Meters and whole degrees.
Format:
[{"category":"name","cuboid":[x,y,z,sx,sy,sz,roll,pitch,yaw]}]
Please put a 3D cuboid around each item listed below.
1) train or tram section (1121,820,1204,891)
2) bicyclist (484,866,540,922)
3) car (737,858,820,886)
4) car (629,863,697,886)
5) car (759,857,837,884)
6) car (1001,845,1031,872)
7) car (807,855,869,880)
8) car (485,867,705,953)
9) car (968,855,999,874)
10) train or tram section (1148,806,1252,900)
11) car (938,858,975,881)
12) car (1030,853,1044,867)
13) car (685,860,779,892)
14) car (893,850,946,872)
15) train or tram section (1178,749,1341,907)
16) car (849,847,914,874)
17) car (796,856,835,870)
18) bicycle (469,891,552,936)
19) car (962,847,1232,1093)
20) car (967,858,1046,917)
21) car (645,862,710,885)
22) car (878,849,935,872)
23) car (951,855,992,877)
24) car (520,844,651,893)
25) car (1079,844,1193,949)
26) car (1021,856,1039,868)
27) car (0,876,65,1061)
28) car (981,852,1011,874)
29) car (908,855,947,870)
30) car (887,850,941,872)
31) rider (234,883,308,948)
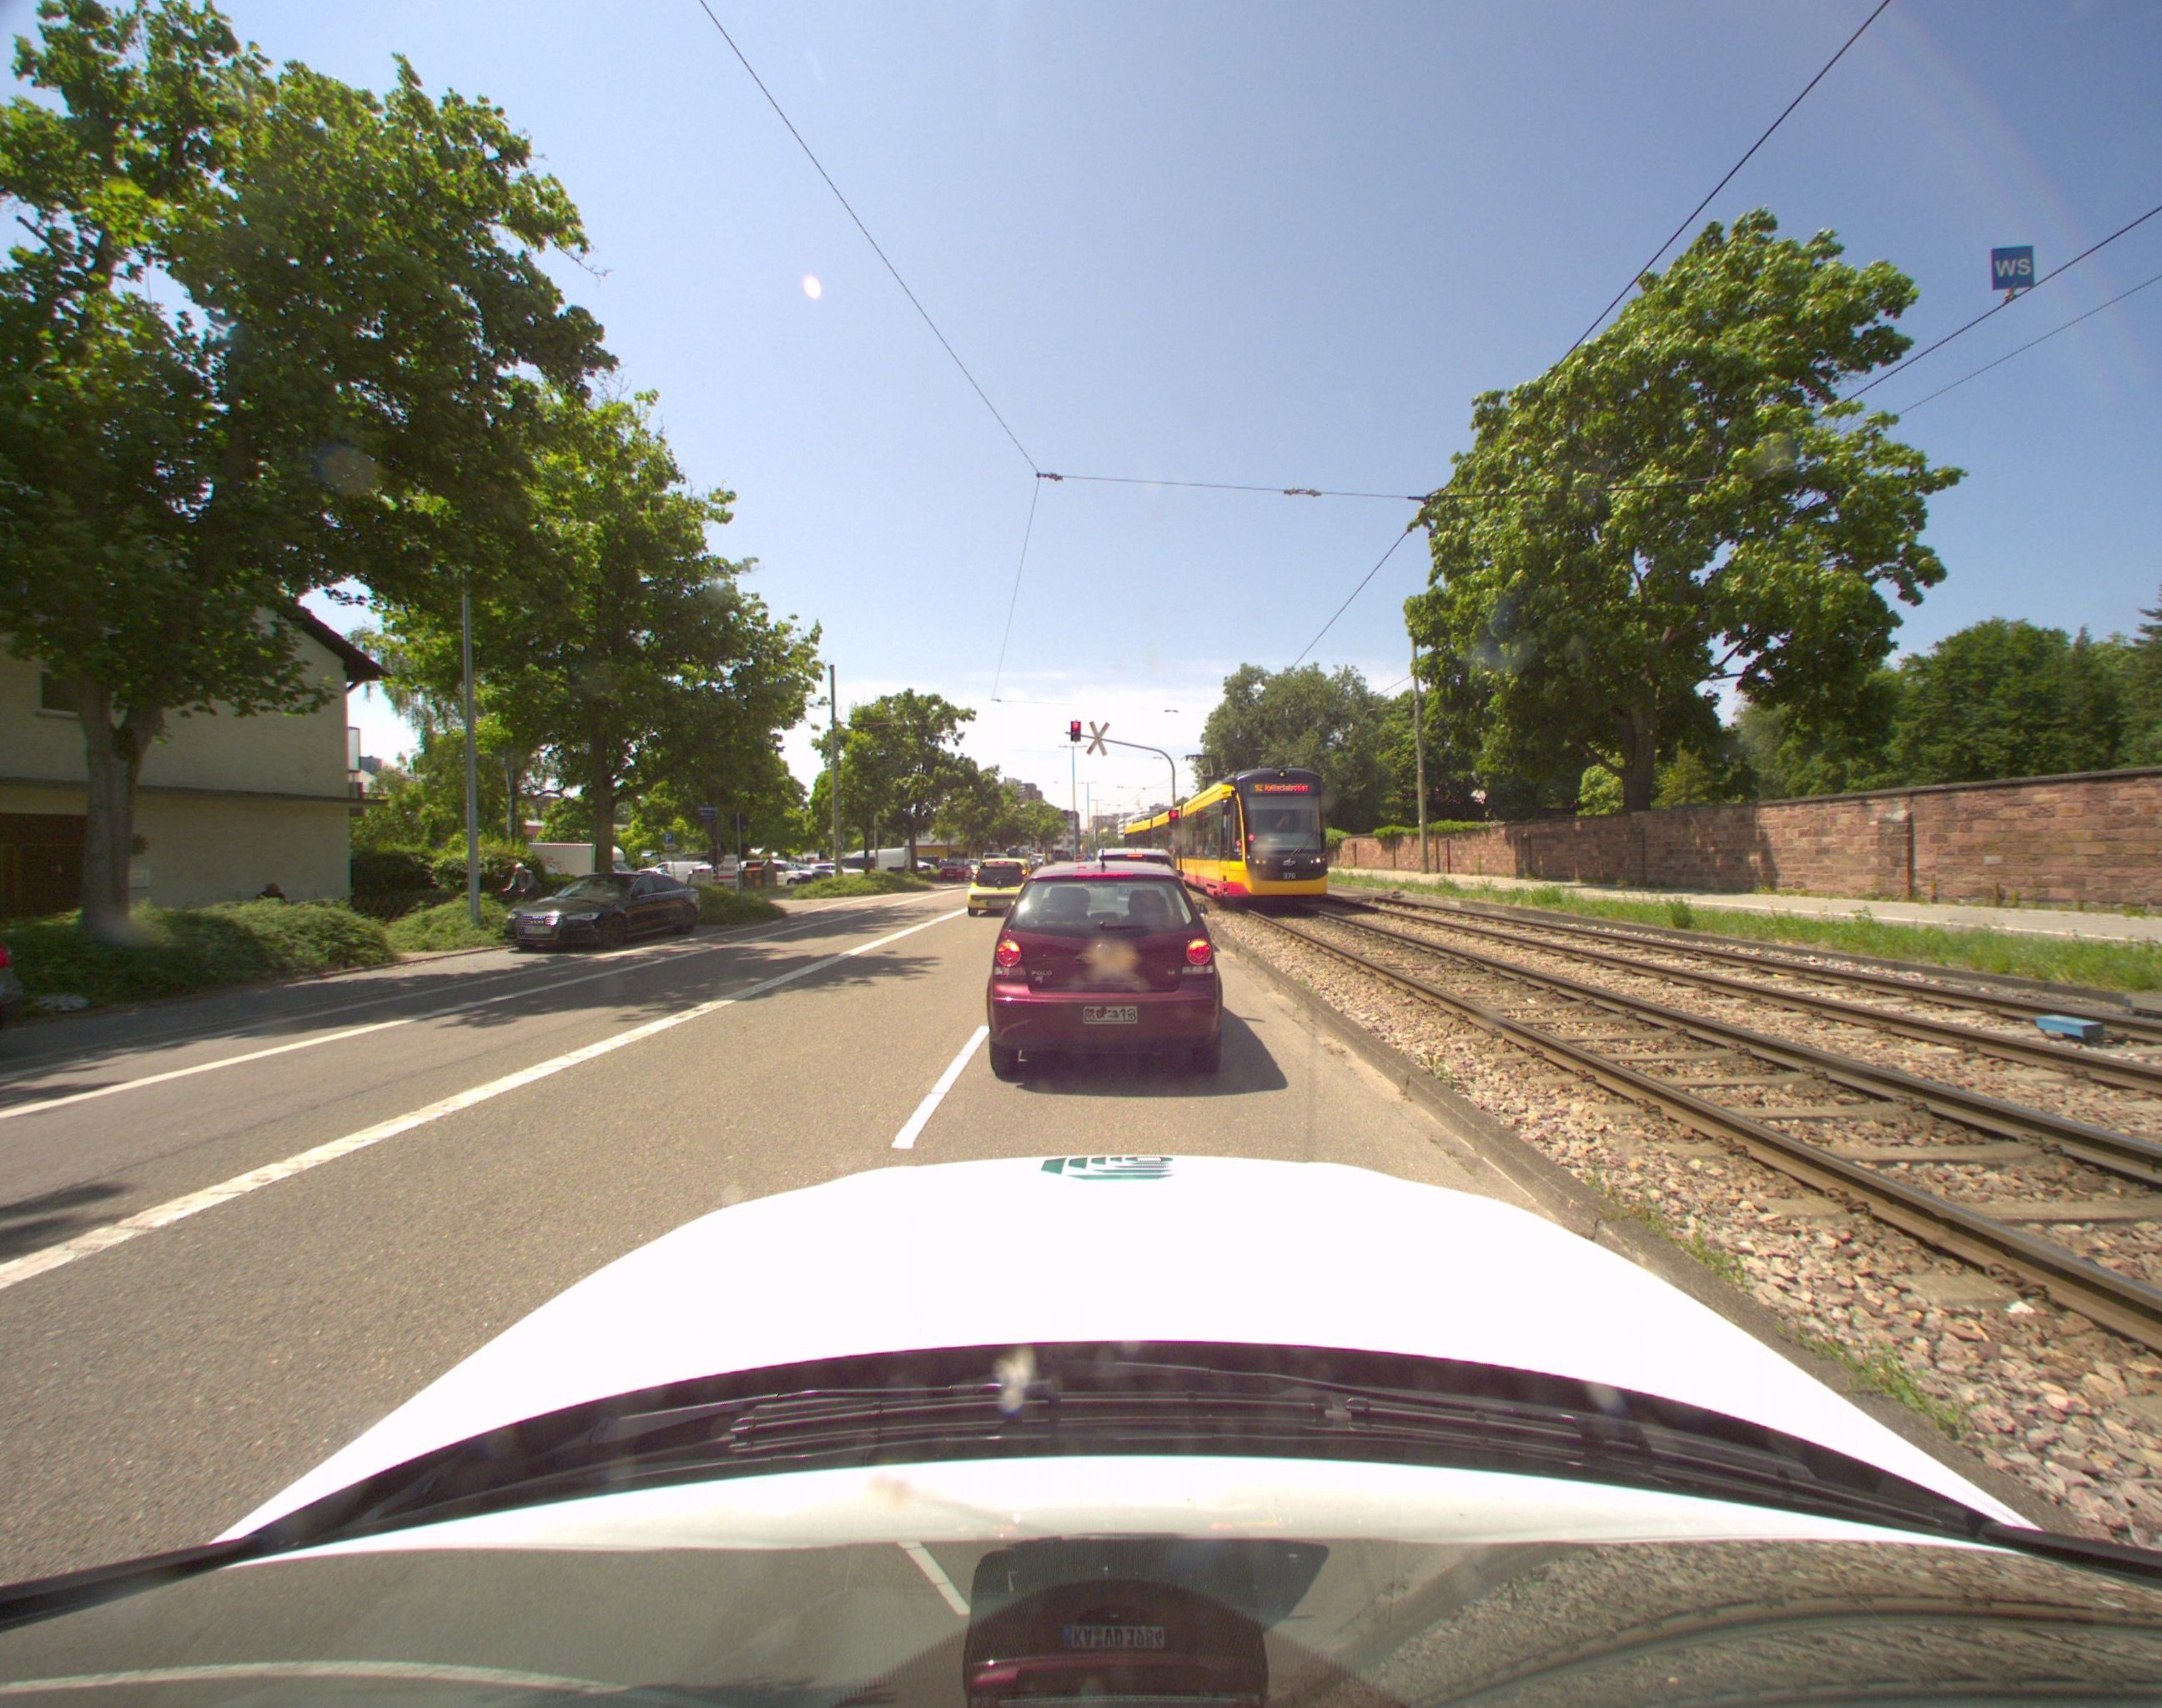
[{"category":"train or tram section","cuboid":[4.452,0.058,47.159,2.737,3.609,10.930,1,0,-5]},{"category":"bicyclist","cuboid":[-14.528,1.011,20.809,0.805,1.374,0.829,0,-1,5]},{"category":"car","cuboid":[-18.634,1.096,50.202,4.319,1.585,1.917,-2,0,7]},{"category":"car","cuboid":[-30.412,1.495,59.358,3.982,1.653,1.812,1,-1,-7]},{"category":"car","cuboid":[-18.410,1.085,53.078,4.319,1.585,1.917,-2,0,8]},{"category":"car","cuboid":[-6.689,0.451,84.586,2.352,2.692,5.311,1,-1,3]},{"category":"car","cuboid":[-18.176,1.006,61.111,3.973,1.746,1.998,-2,0,0]},{"category":"car","cuboid":[-9.865,1.059,17.026,1.812,1.476,4.450,0,0,1]},{"category":"car","cuboid":[-7.877,0.868,66.034,1.606,1.441,4.006,0,-1,5]},{"category":"train or tram section","cuboid":[5.023,-0.055,36.700,2.733,3.609,10.942,1,0,-2]},{"category":"car","cuboid":[-8.327,1.016,54.767,1.655,1.497,4.004,1,-1,4]},{"category":"car","cuboid":[-5.870,0.807,107.863,1.771,1.828,3.995,1,-1,-3]},{"category":"car","cuboid":[-19.350,1.185,45.285,4.329,1.585,1.912,-2,0,-1]},{"category":"car","cuboid":[-17.424,0.753,87.952,5.076,2.244,2.380,1,-1,3]},{"category":"train or tram section","cuboid":[4.883,-0.619,25.185,2.730,3.609,12.878,1,0,2]},{"category":"car","cuboid":[-17.470,0.556,71.544,5.076,2.244,2.380,1,-1,3]},{"category":"car","cuboid":[-31.567,1.023,96.943,4.006,1.617,1.816,1,-1,0]},{"category":"bicycle","cuboid":[-14.540,1.491,20.814,0.697,1.030,1.831,0,-1,5]},{"category":"car","cuboid":[0.142,0.713,7.050,1.666,1.521,4.001,0,0,1]},{"category":"car","cuboid":[-1.898,0.819,21.633,1.684,1.411,3.516,0,0,1]},{"category":"car","cuboid":[-30.584,1.456,61.792,3.982,1.653,1.812,1,-1,-7]},{"category":"car","cuboid":[-17.725,0.690,82.886,5.076,2.244,2.380,1,-1,3]},{"category":"car","cuboid":[-8.218,0.887,61.320,1.965,1.601,4.566,0,-1,6]},{"category":"car","cuboid":[-31.440,0.911,51.826,6.828,2.965,2.364,1,-1,0]},{"category":"car","cuboid":[0.904,0.661,14.758,1.770,1.647,4.001,0,0,1]},{"category":"car","cuboid":[-6.402,1.044,101.852,1.606,1.441,4.006,0,-1,5]},{"category":"car","cuboid":[-10.204,0.990,5.318,1.812,1.564,4.182,0,0,1]},{"category":"car","cuboid":[-7.444,0.777,71.549,1.774,1.881,4.791,0,-1,5]},{"category":"car","cuboid":[-17.395,0.949,92.358,4.004,1.617,1.818,1,-1,3]},{"category":"car","cuboid":[-17.430,0.722,85.354,5.076,2.244,2.380,1,-1,3]},{"category":"rider","cuboid":[-17.972,1.351,18.087,0.820,1.374,0.814,-2,0,10]}]
